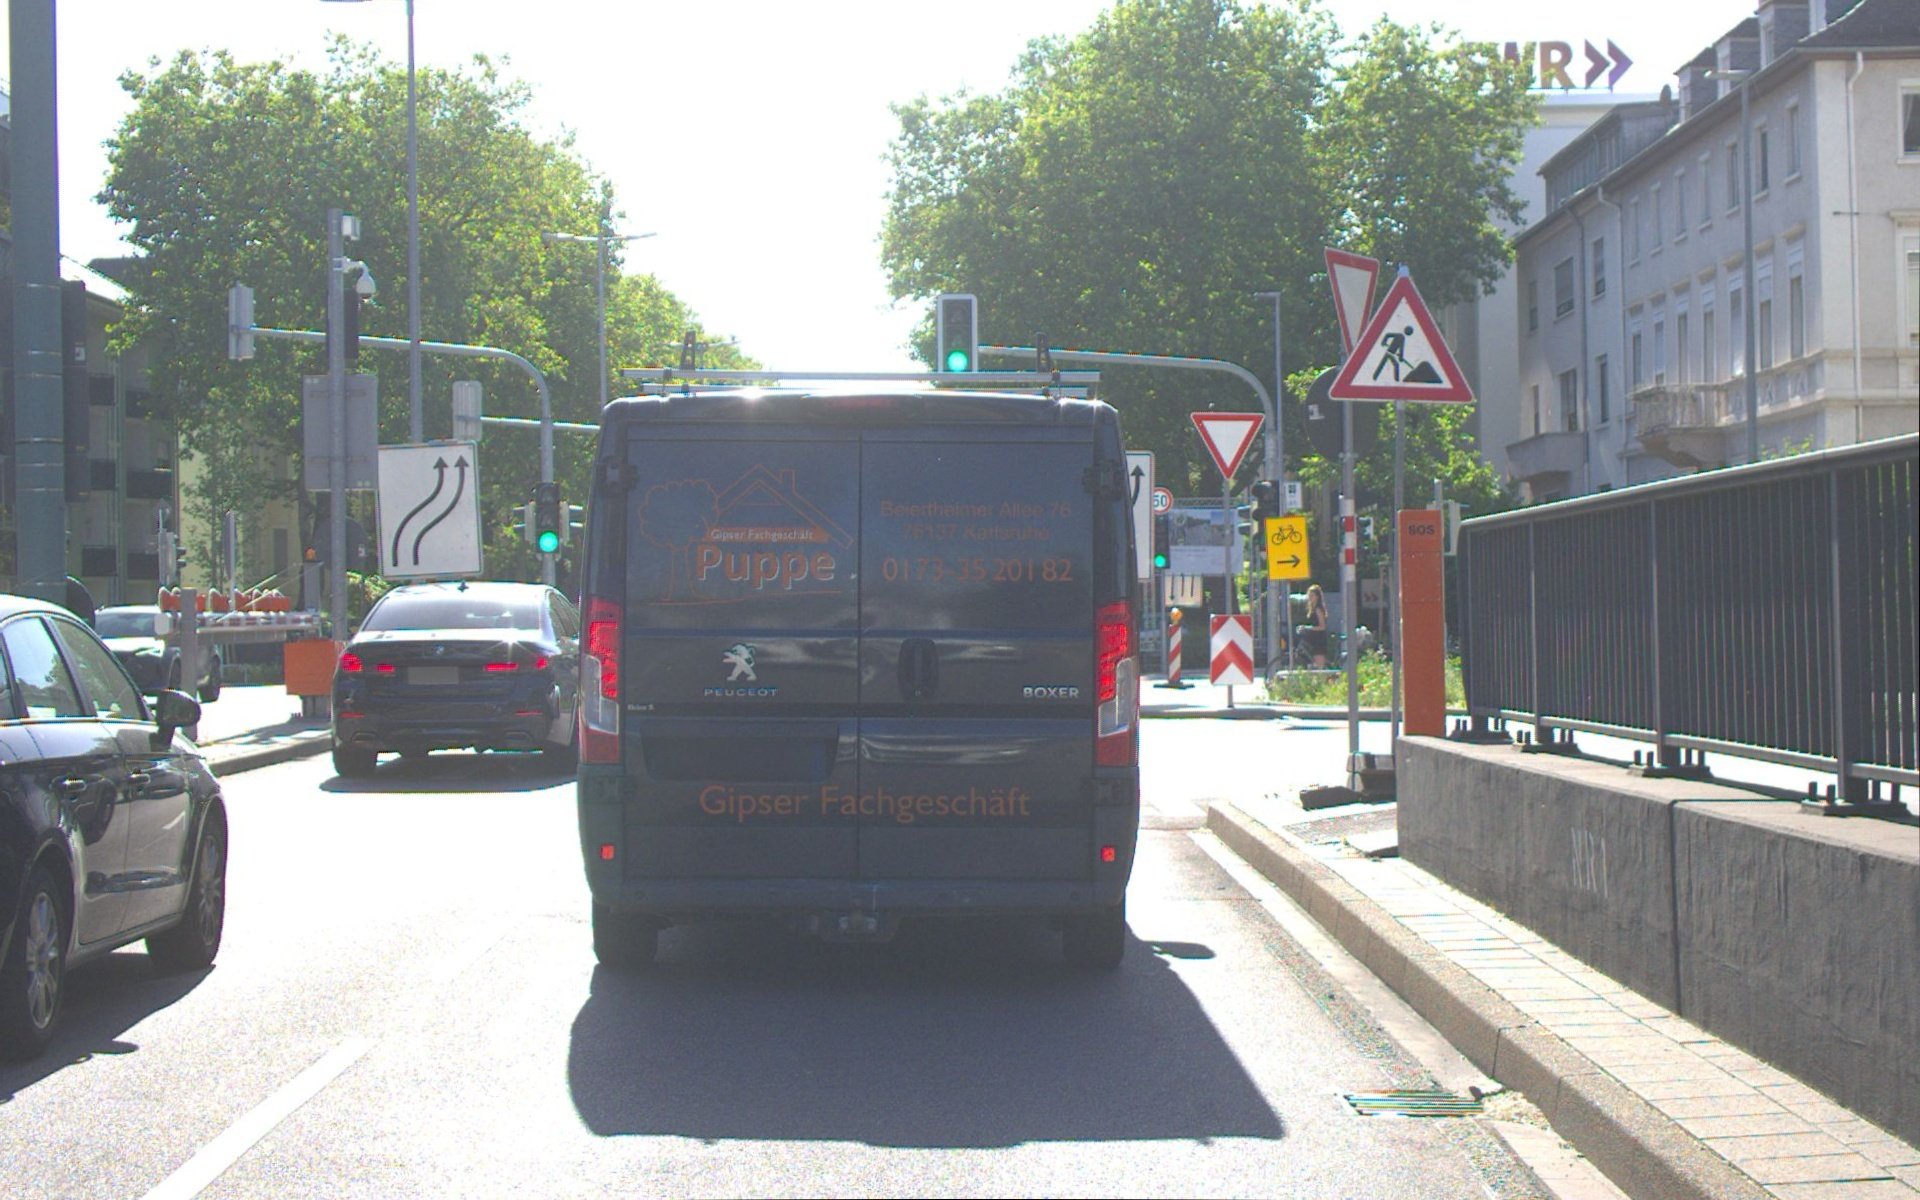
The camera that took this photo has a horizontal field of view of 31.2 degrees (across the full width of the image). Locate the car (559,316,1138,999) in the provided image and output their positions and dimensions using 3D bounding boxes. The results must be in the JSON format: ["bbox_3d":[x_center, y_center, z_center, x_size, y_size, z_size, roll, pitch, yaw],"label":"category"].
[{"bbox_3d":[-0.414,0.191,14.059,2.030,2.394,3.973,0,0,-1],"label":"car"}]

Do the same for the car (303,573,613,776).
[{"bbox_3d":[-3.864,0.540,27.243,1.808,1.434,5.002,1,0,-1],"label":"car"}]

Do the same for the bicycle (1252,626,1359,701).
[{"bbox_3d":[5.300,0.966,52.816,1.566,1.114,0.570,1,0,-1],"label":"bicycle"}]

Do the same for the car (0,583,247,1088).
[{"bbox_3d":[-3.615,0.657,11.549,1.695,1.414,3.888,1,0,-1],"label":"car"}]

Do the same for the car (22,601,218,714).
[{"bbox_3d":[-12.343,0.820,50.751,1.936,1.549,3.923,1,0,0],"label":"car"}]

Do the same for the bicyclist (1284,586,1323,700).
[{"bbox_3d":[5.275,0.653,52.815,0.509,1.729,0.597,1,0,-1],"label":"bicyclist"}]

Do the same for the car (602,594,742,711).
[{"bbox_3d":[-3.863,0.680,46.545,1.619,1.398,3.852,1,1,-1],"label":"car"}]
